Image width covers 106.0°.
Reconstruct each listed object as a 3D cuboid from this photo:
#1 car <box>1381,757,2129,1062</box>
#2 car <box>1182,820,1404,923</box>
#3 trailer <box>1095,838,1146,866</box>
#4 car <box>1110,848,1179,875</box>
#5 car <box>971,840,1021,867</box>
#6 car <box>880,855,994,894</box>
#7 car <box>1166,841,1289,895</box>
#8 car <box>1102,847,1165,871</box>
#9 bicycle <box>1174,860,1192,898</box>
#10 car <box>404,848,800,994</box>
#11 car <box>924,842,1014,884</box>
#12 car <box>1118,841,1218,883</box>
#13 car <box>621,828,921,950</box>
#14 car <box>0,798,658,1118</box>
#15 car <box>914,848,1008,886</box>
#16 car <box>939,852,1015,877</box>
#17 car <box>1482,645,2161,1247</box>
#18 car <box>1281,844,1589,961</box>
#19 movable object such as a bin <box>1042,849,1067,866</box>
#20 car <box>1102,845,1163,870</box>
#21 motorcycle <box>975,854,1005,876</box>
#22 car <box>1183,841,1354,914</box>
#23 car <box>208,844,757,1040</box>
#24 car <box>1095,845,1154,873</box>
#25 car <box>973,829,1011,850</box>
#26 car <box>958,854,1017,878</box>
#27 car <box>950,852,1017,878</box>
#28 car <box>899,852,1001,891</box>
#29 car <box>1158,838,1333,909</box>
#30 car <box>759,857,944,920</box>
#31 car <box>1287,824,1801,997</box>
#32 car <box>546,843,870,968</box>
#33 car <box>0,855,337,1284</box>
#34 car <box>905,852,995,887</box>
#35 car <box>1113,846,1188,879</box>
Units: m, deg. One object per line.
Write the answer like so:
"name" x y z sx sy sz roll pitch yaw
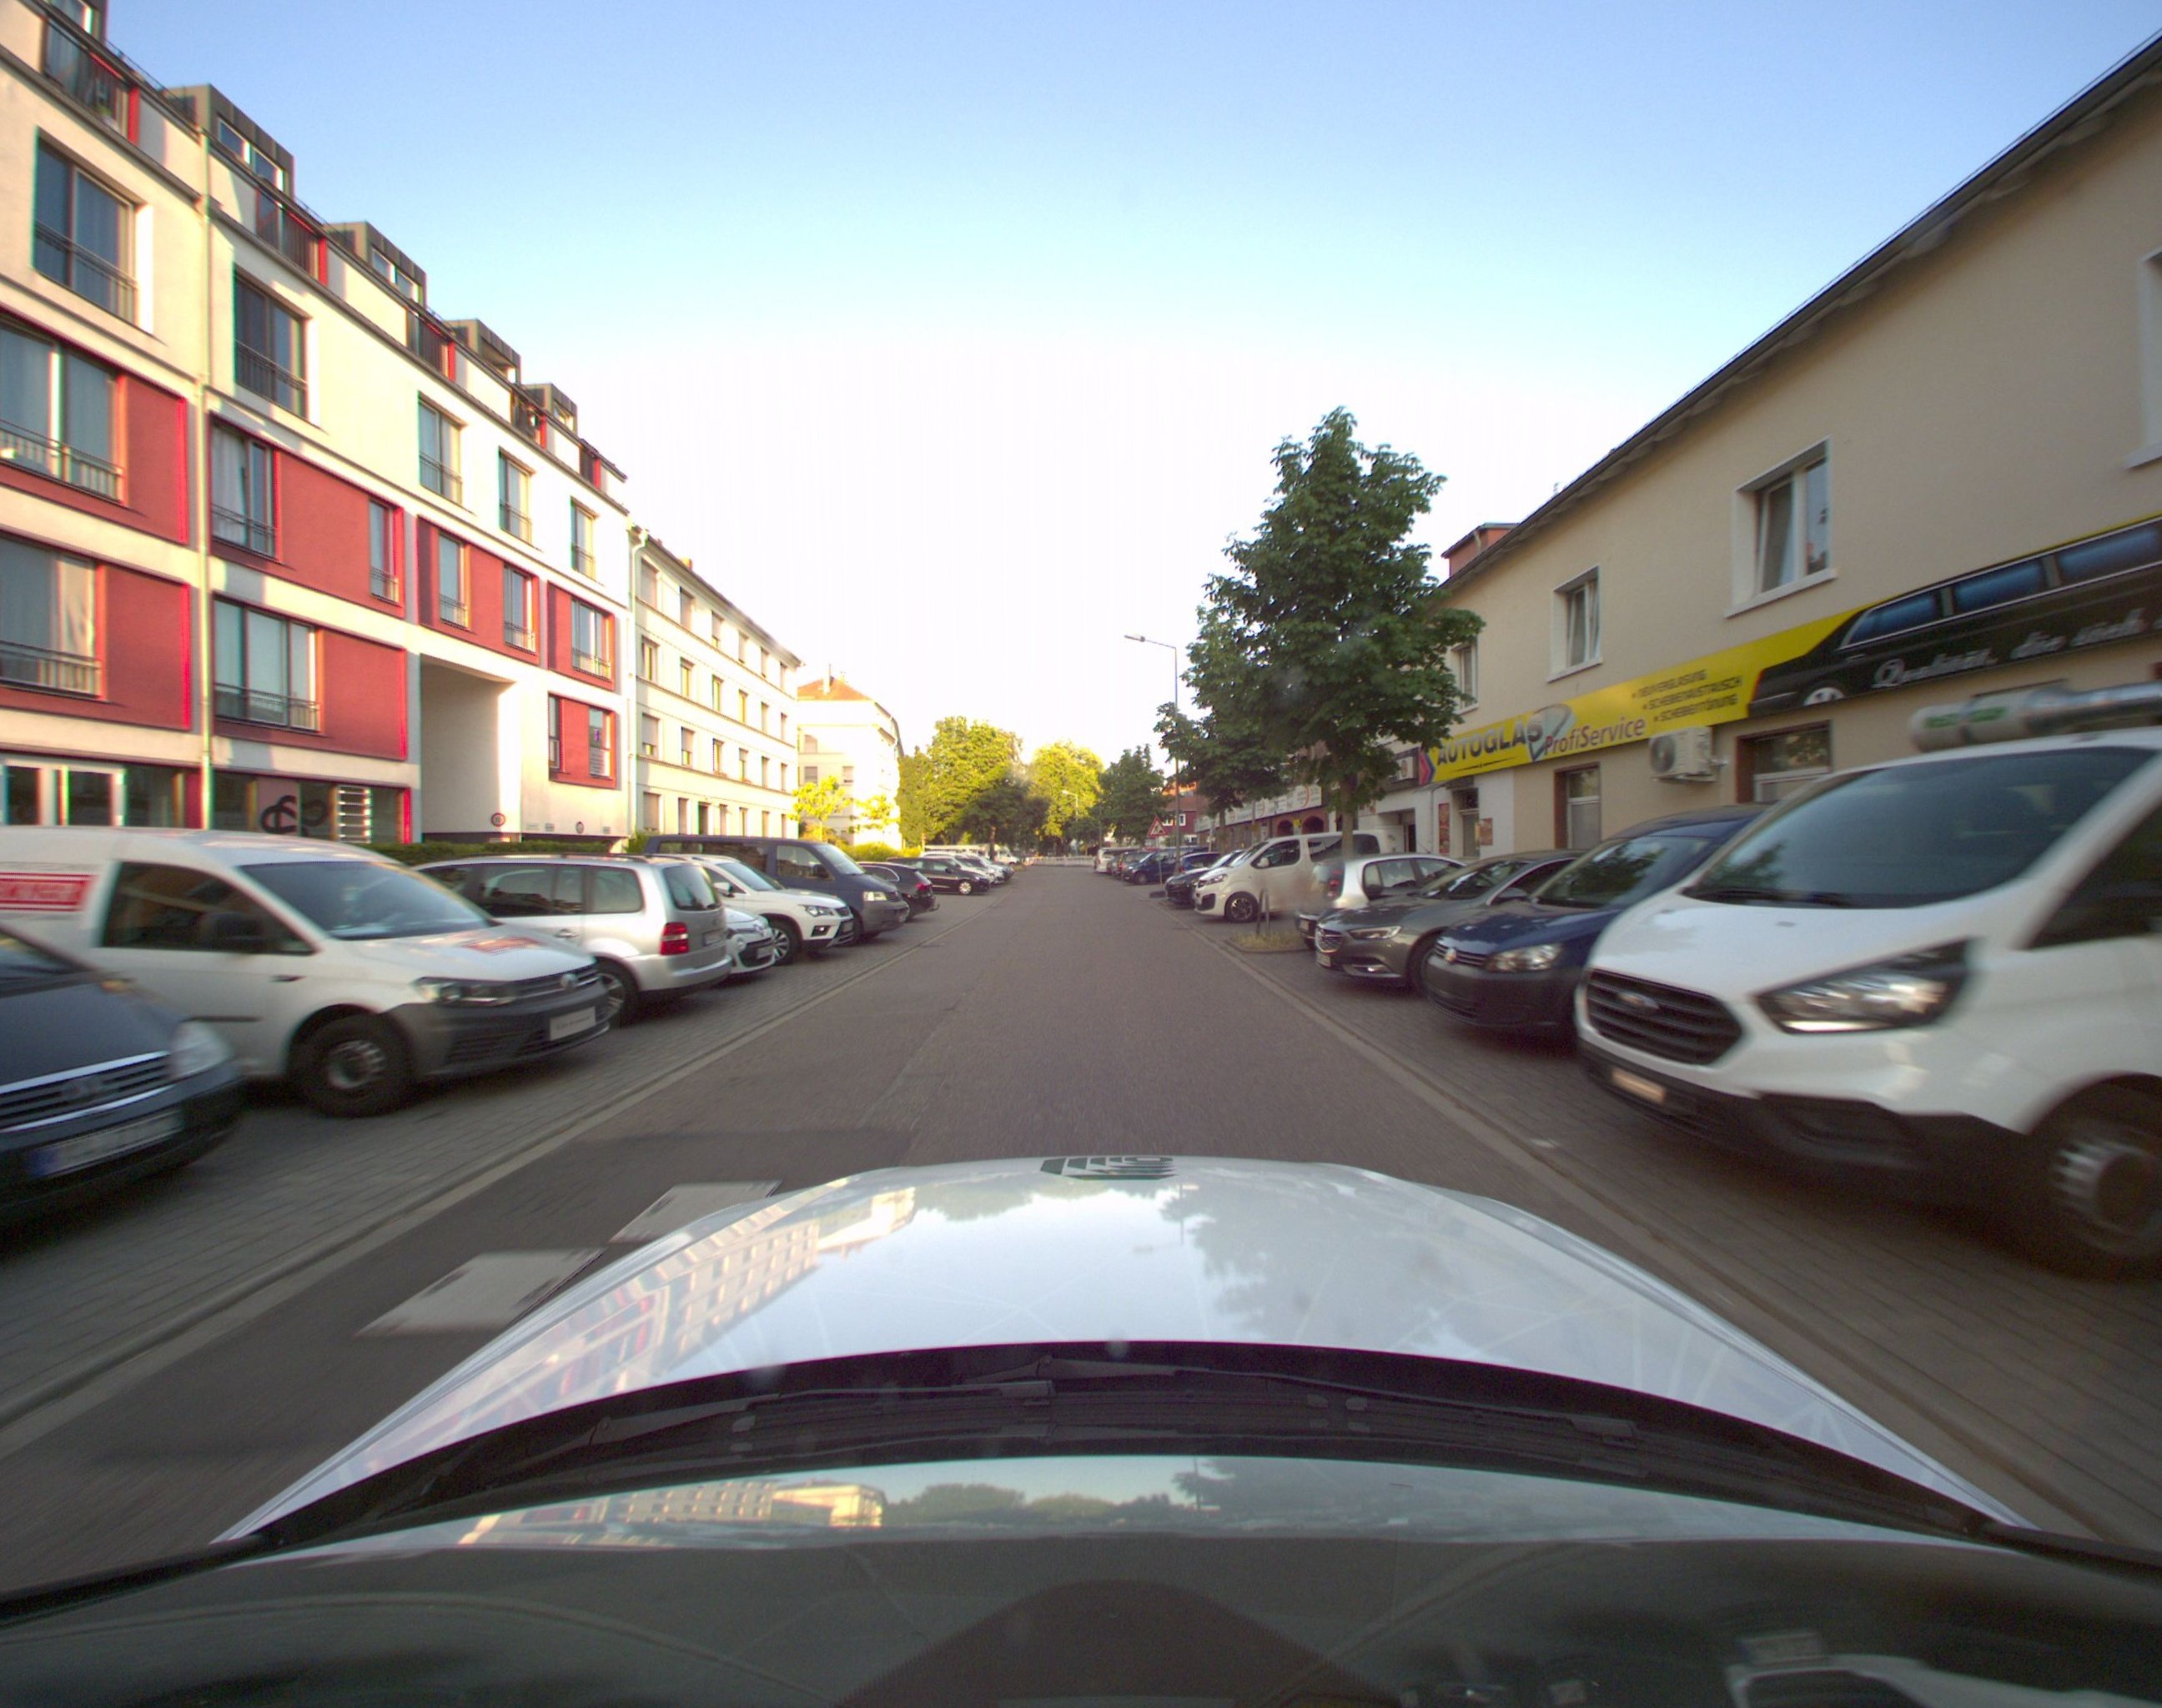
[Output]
"car" 4.942 0.387 6.566 4.275 1.858 2.001 -3 0 2
"car" 4.847 0.392 19.123 4.572 1.861 2.012 -6 0 0
"trailer" 3.230 -0.128 66.402 3.977 2.187 1.998 -1 0 -3
"car" 3.812 0.471 49.507 3.940 1.565 1.817 -1 0 -6
"car" -8.289 -0.061 79.822 4.718 2.569 1.999 -1 0 -1
"car" -5.866 0.835 33.621 4.399 1.452 1.825 2 0 -4
"car" 5.168 0.479 29.150 3.976 1.545 1.844 -5 0 -1
"car" 3.441 0.355 54.064 3.977 1.510 1.775 -1 0 -3
"bicycle" 3.336 0.798 26.647 0.307 1.192 1.761 -1 0 -2
"car" -5.942 0.786 10.494 3.975 1.618 1.796 -1 0 -1
"car" -5.981 0.456 43.886 4.496 2.070 2.001 2 1 1
"car" 4.391 0.380 41.731 4.775 1.753 2.015 -4 1 -3
"car" -5.705 0.608 15.443 4.836 2.054 2.001 -1 1 2
"car" -5.660 0.634 5.881 4.164 1.895 1.897 -1 0 -1
"car" -6.026 0.636 41.176 4.407 1.802 1.943 1 0 0
"car" -6.242 0.641 49.324 4.313 1.405 1.851 1 0 -1
"car" 4.914 0.318 3.870 4.939 2.101 2.153 -1 -1 3
"car" 5.040 0.650 11.922 3.776 1.496 1.679 -1 0 -3
"movable object such as a bin" -4.055 0.547 124.552 2.634 2.403 5.168 -1 0 -17
"car" 3.740 0.249 59.582 4.290 1.799 1.902 -1 0 -3
"motorcycle" -6.203 0.746 55.608 1.984 1.436 0.720 -1 0 -7
"car" 4.840 0.600 21.446 3.974 1.496 1.892 -5 0 0
"car" -5.692 0.757 8.357 3.986 1.589 2.047 -1 0 -9
"car" 3.003 0.350 56.976 3.978 1.904 1.998 -1 0 -3
"car" -10.828 -1.744 99.013 4.502 2.431 1.993 -1 0 -10
"car" -6.138 0.800 53.962 3.702 1.506 1.689 -1 0 -1
"car" -6.129 0.700 51.382 3.975 1.583 1.728 -1 0 -1
"car" -5.769 0.762 36.304 4.231 1.621 1.812 1 0 -2
"car" 4.767 0.540 24.128 4.679 1.631 2.000 -5 0 0
"car" -5.608 0.839 20.291 4.132 1.416 1.735 1 0 -5
"car" 4.987 0.565 9.281 4.709 1.496 1.999 -3 0 -2
"car" -5.682 0.744 12.836 4.172 1.723 1.901 -1 0 -1
"car" -5.711 0.789 3.374 3.522 1.563 1.783 0 0 -3
"car" -6.180 0.731 38.823 3.978 1.484 1.754 2 0 -3
"car" 3.984 0.487 47.118 3.978 1.618 1.893 -4 0 -4
